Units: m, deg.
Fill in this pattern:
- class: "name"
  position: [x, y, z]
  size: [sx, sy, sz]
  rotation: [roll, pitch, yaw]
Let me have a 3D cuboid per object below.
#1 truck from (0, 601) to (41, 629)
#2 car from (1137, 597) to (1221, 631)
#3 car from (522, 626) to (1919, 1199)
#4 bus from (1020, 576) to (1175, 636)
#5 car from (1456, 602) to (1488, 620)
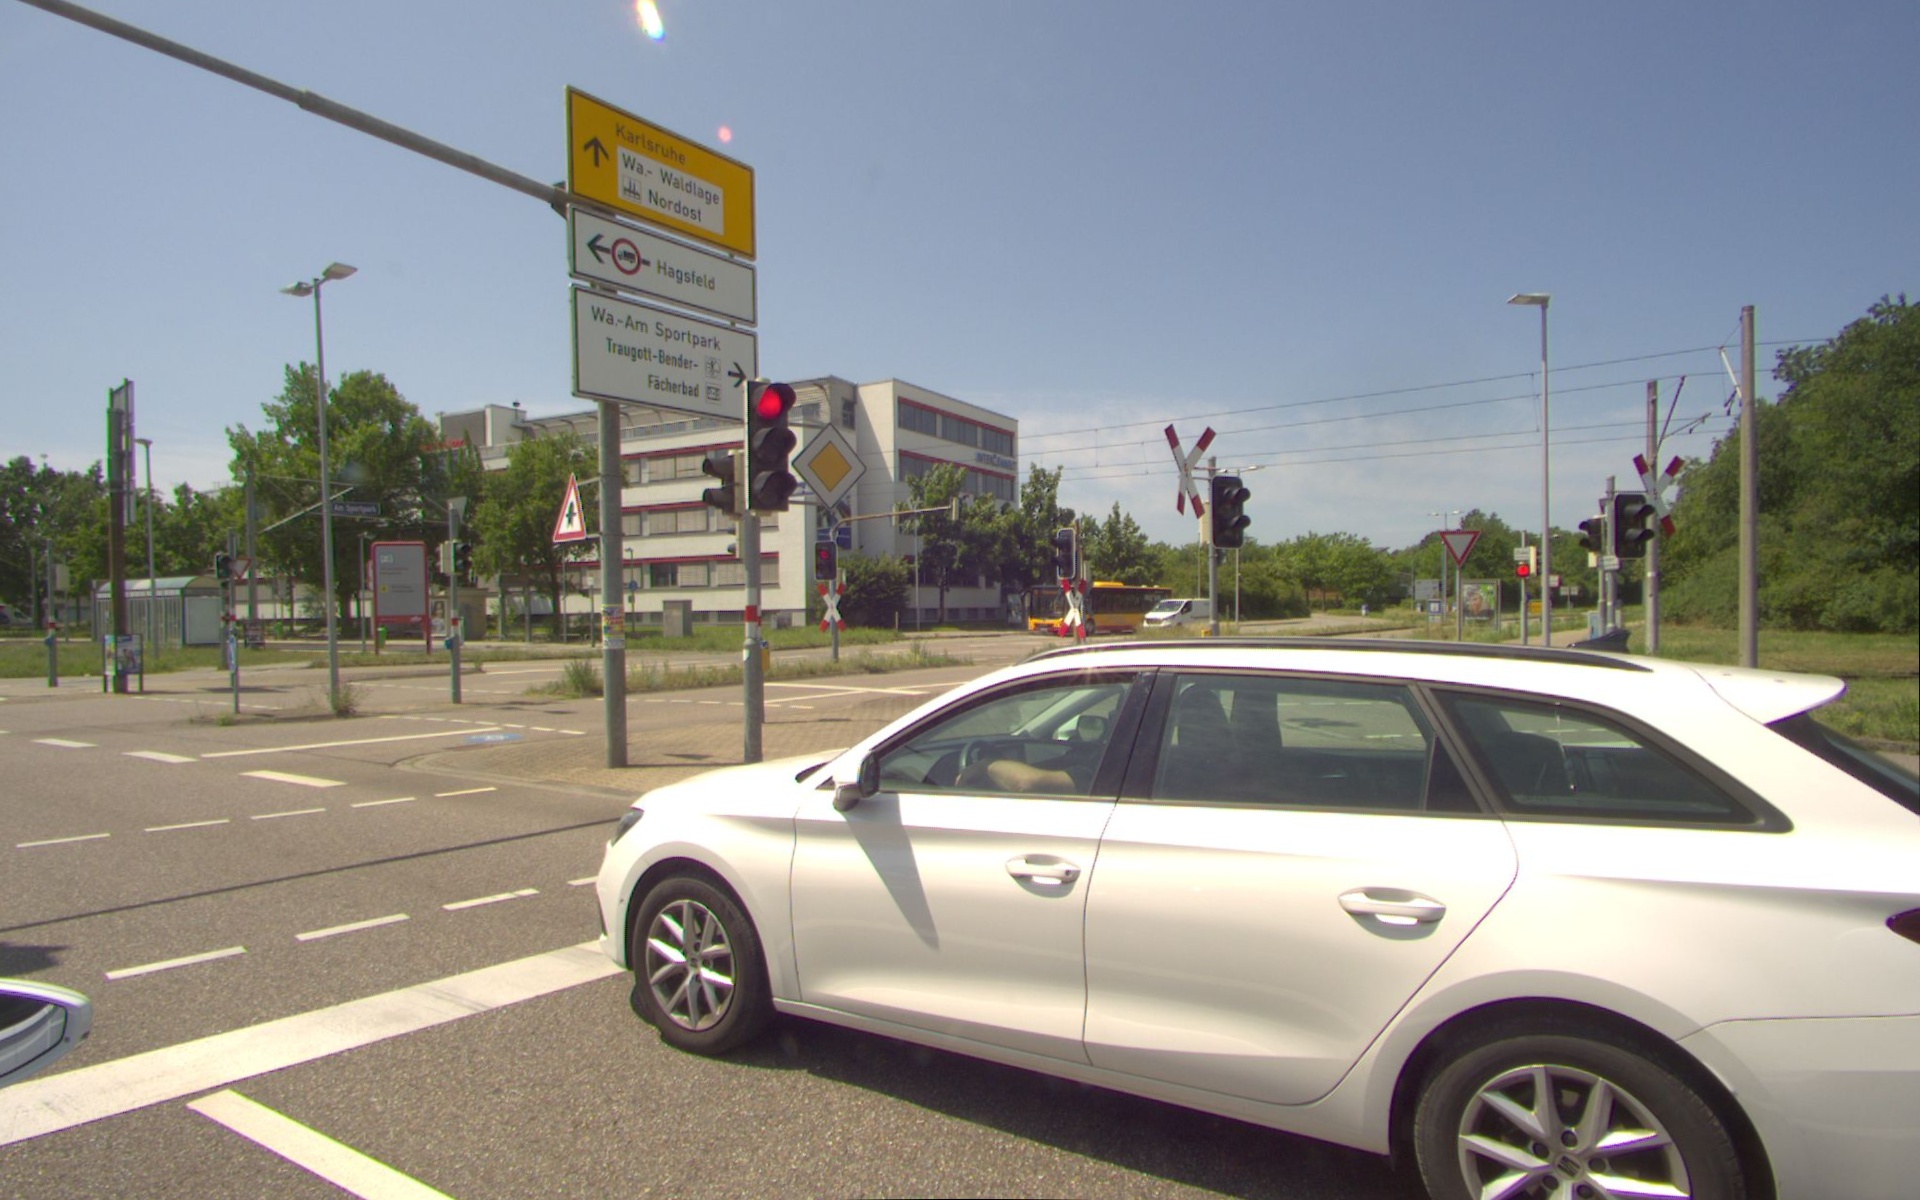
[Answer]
- class: "truck"
  position: [-104.797, 1.665, 109.442]
  size: [2.283, 2.881, 5.837]
  rotation: [-1, 1, 26]
- class: "car"
  position: [11.674, 0.787, 53.224]
  size: [5.021, 1.750, 1.811]
  rotation: [2, -2, -43]
- class: "car"
  position: [0.615, 0.807, 3.485]
  size: [4.384, 1.408, 1.680]
  rotation: [-1, -1, 30]
- class: "bus"
  position: [8.387, 0.431, 59.224]
  size: [2.808, 3.159, 11.977]
  rotation: [-2, -2, 42]
- class: "car"
  position: [48.305, 1.029, 94.423]
  size: [1.656, 1.601, 3.965]
  rotation: [1, 0, 43]
